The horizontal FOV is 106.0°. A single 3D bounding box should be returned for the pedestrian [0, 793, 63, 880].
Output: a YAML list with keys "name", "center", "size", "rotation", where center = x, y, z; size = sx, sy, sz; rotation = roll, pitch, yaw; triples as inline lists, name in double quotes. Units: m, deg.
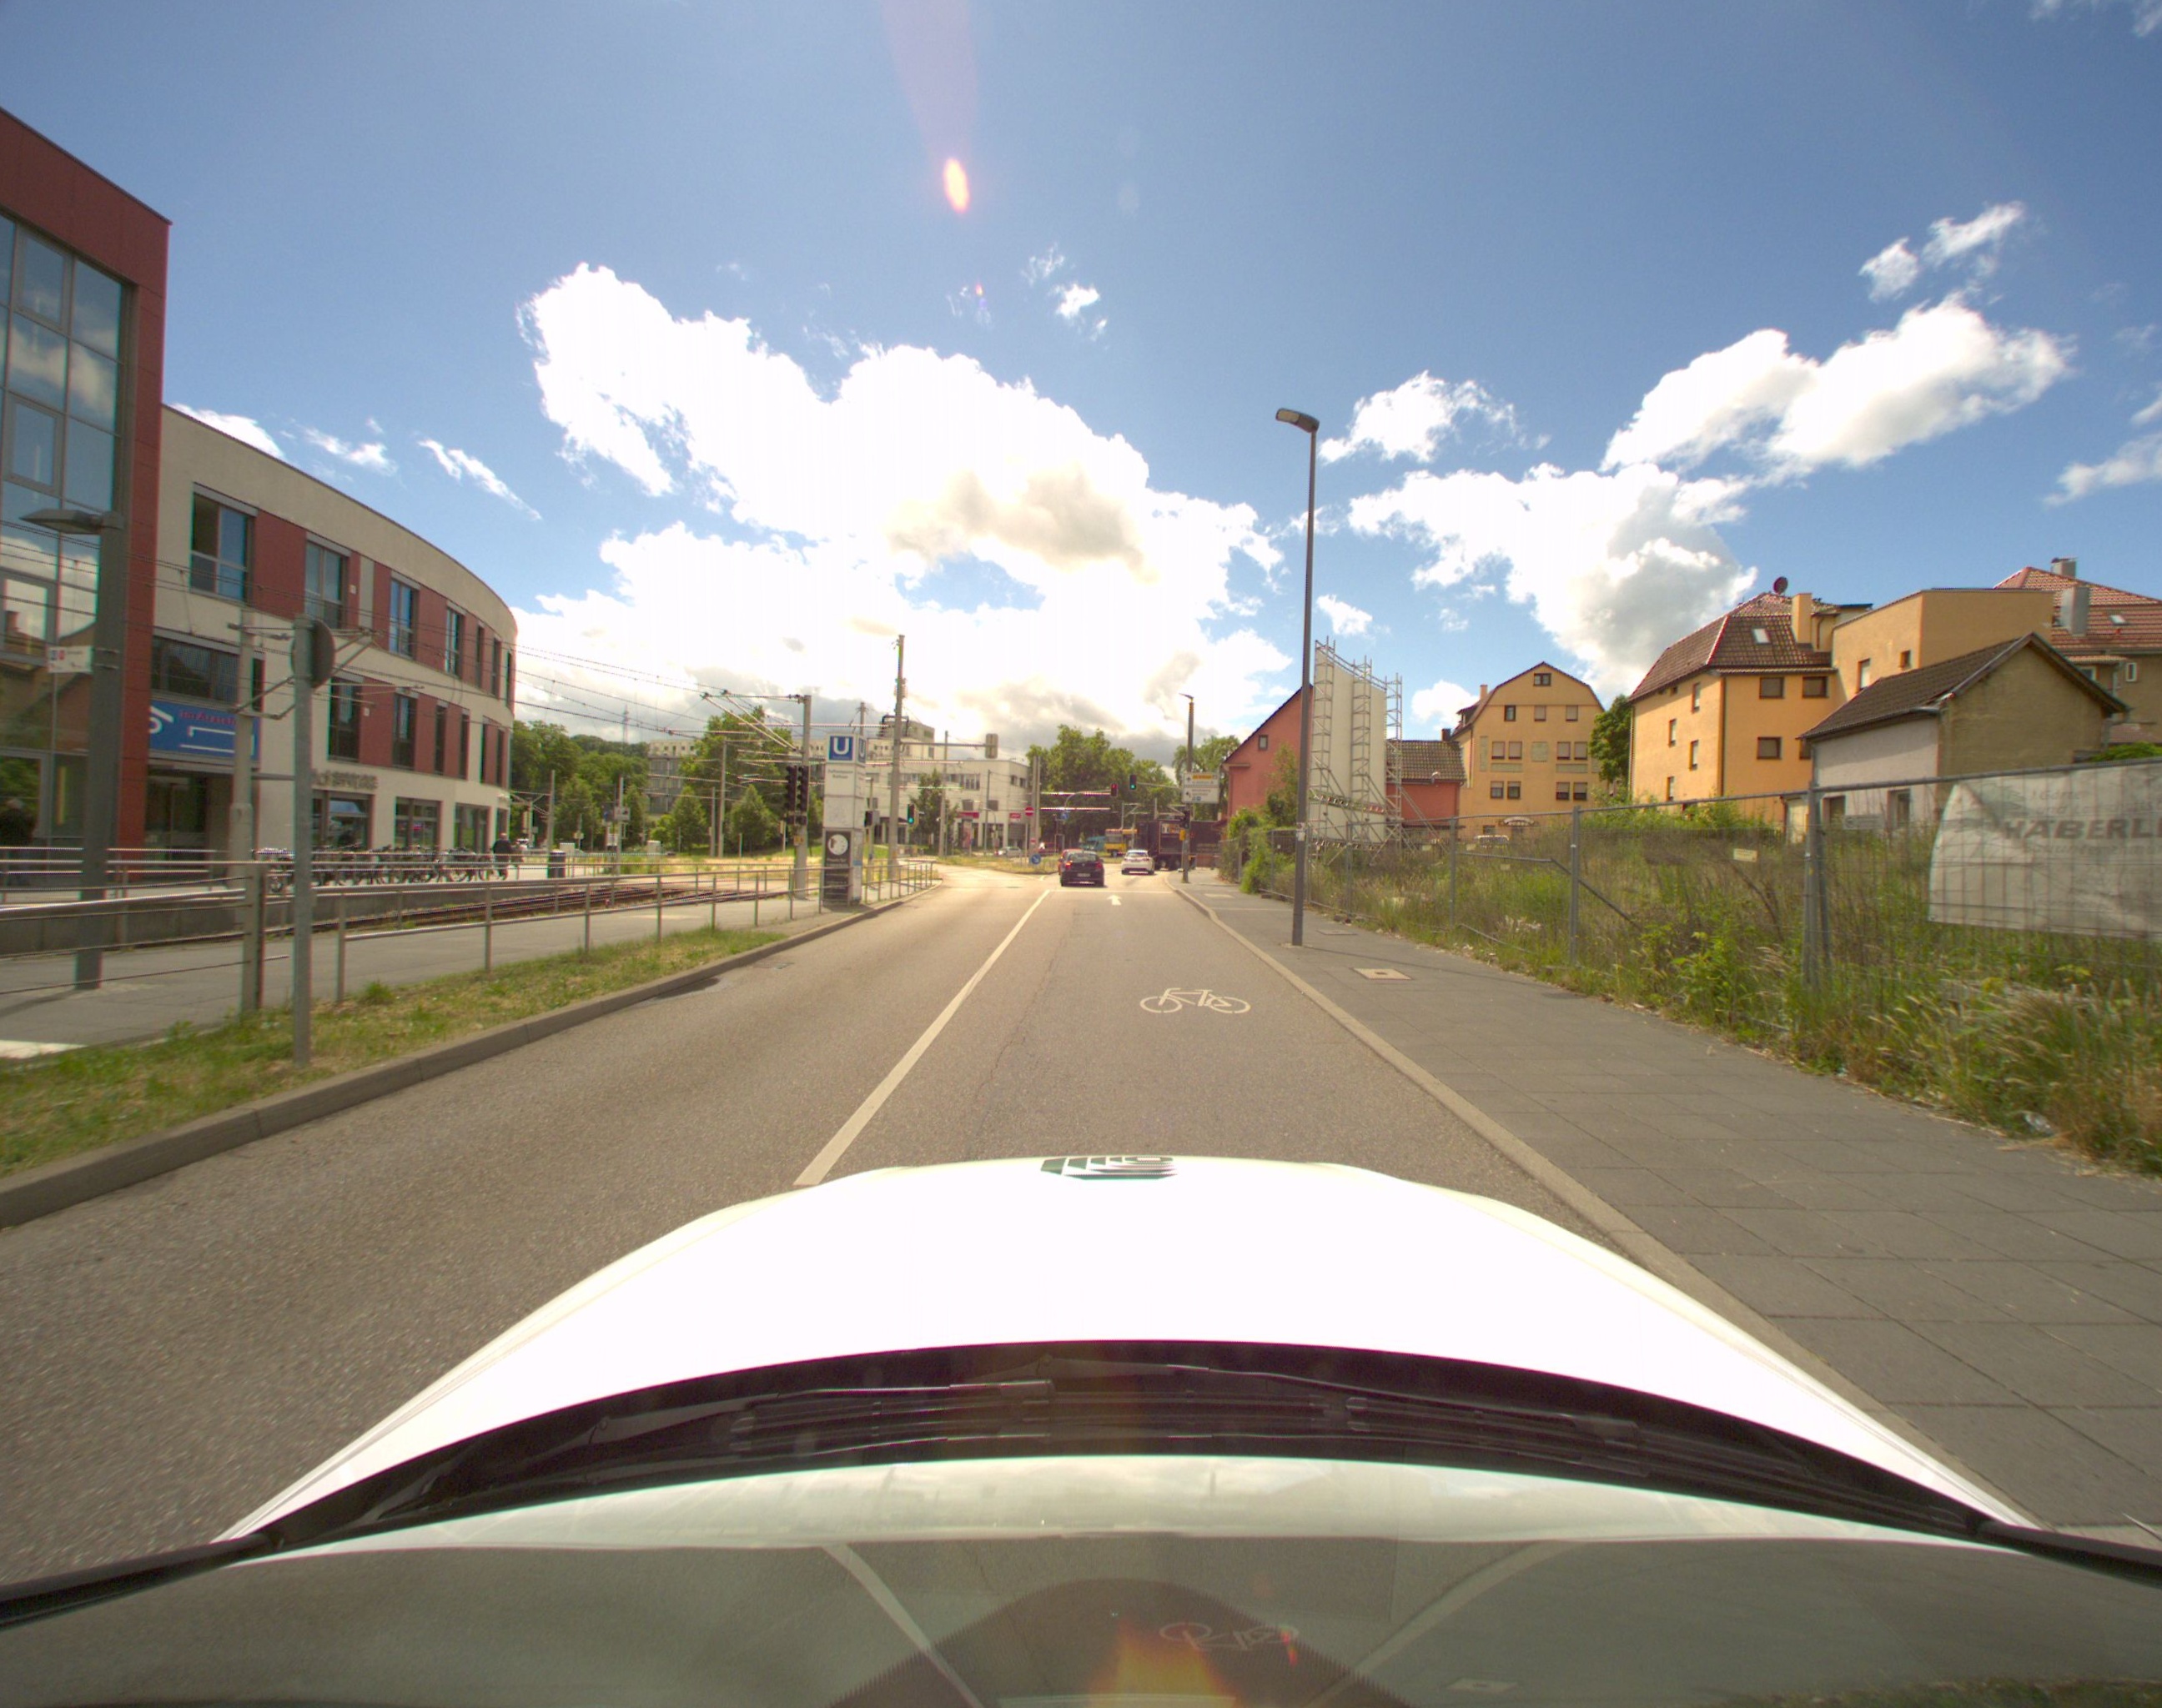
- name: "pedestrian"
  center: [-23.115, -0.372, 17.779]
  size: [0.653, 1.851, 0.740]
  rotation: [3, -2, 4]

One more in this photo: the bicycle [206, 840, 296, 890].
- name: "bicycle"
  center: [-18.480, 0.256, 18.151]
  size: [1.560, 1.101, 0.408]
  rotation: [0, -2, 0]

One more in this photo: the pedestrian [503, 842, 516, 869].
- name: "pedestrian"
  center: [-33.692, 0.088, 48.035]
  size: [0.471, 1.531, 0.453]
  rotation: [5, -2, -44]

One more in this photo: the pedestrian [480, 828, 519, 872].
- name: "pedestrian"
  center: [-22.124, -0.147, 31.007]
  size: [0.853, 1.572, 0.857]
  rotation: [4, -2, -14]

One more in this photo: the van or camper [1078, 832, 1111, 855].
- name: "van or camper"
  center: [1.975, -1.439, 116.072]
  size: [2.155, 2.805, 6.103]
  rotation: [3, -2, 26]

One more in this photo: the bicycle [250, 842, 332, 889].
- name: "bicycle"
  center: [-18.611, 0.279, 19.202]
  size: [1.502, 1.101, 0.408]
  rotation: [0, -2, 0]

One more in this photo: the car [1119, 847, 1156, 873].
- name: "car"
  center: [3.485, 0.373, 49.631]
  size: [1.877, 1.465, 4.078]
  rotation: [1, 0, 8]

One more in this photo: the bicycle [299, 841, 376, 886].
- name: "bicycle"
  center: [-18.444, 0.231, 20.205]
  size: [1.502, 1.101, 0.408]
  rotation: [0, -2, 0]

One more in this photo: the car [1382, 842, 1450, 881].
- name: "car"
  center: [10.020, 0.201, 24.494]
  size: [1.068, 1.121, 2.447]
  rotation: [0, 1, 1]

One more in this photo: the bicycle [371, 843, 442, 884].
- name: "bicycle"
  center: [-18.339, 0.271, 22.146]
  size: [1.502, 1.101, 0.492]
  rotation: [0, -2, 0]

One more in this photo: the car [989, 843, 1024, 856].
- name: "car"
  center: [-9.127, -0.597, 100.352]
  size: [1.975, 1.464, 4.024]
  rotation: [2, 0, 42]

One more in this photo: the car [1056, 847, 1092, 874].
- name: "car"
  center: [-0.342, 0.316, 46.004]
  size: [1.704, 1.393, 3.813]
  rotation: [1, 1, 4]

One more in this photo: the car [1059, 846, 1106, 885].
- name: "car"
  center: [0.010, 0.435, 33.345]
  size: [1.722, 1.456, 3.805]
  rotation: [1, 1, -3]

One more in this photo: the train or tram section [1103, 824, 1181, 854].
- name: "train or tram section"
  center: [8.592, -1.942, 110.263]
  size: [2.671, 3.750, 18.474]
  rotation: [2, 1, 30]

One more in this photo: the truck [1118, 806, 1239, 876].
- name: "truck"
  center: [7.387, -0.879, 60.973]
  size: [9.065, 4.536, 3.179]
  rotation: [4, -1, -36]

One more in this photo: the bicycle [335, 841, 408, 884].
- name: "bicycle"
  center: [-18.289, 0.226, 21.002]
  size: [1.502, 1.101, 0.408]
  rotation: [0, -2, 0]

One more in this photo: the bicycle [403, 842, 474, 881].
- name: "bicycle"
  center: [-18.219, 0.217, 23.103]
  size: [1.560, 1.101, 0.515]
  rotation: [0, -2, 0]

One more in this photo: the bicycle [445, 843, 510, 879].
- name: "bicycle"
  center: [-18.320, 0.220, 24.740]
  size: [1.560, 1.101, 0.515]
  rotation: [0, -2, 0]

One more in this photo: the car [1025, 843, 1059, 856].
- name: "car"
  center: [-5.086, -0.557, 105.311]
  size: [1.975, 1.600, 4.225]
  rotation: [2, 1, 42]
